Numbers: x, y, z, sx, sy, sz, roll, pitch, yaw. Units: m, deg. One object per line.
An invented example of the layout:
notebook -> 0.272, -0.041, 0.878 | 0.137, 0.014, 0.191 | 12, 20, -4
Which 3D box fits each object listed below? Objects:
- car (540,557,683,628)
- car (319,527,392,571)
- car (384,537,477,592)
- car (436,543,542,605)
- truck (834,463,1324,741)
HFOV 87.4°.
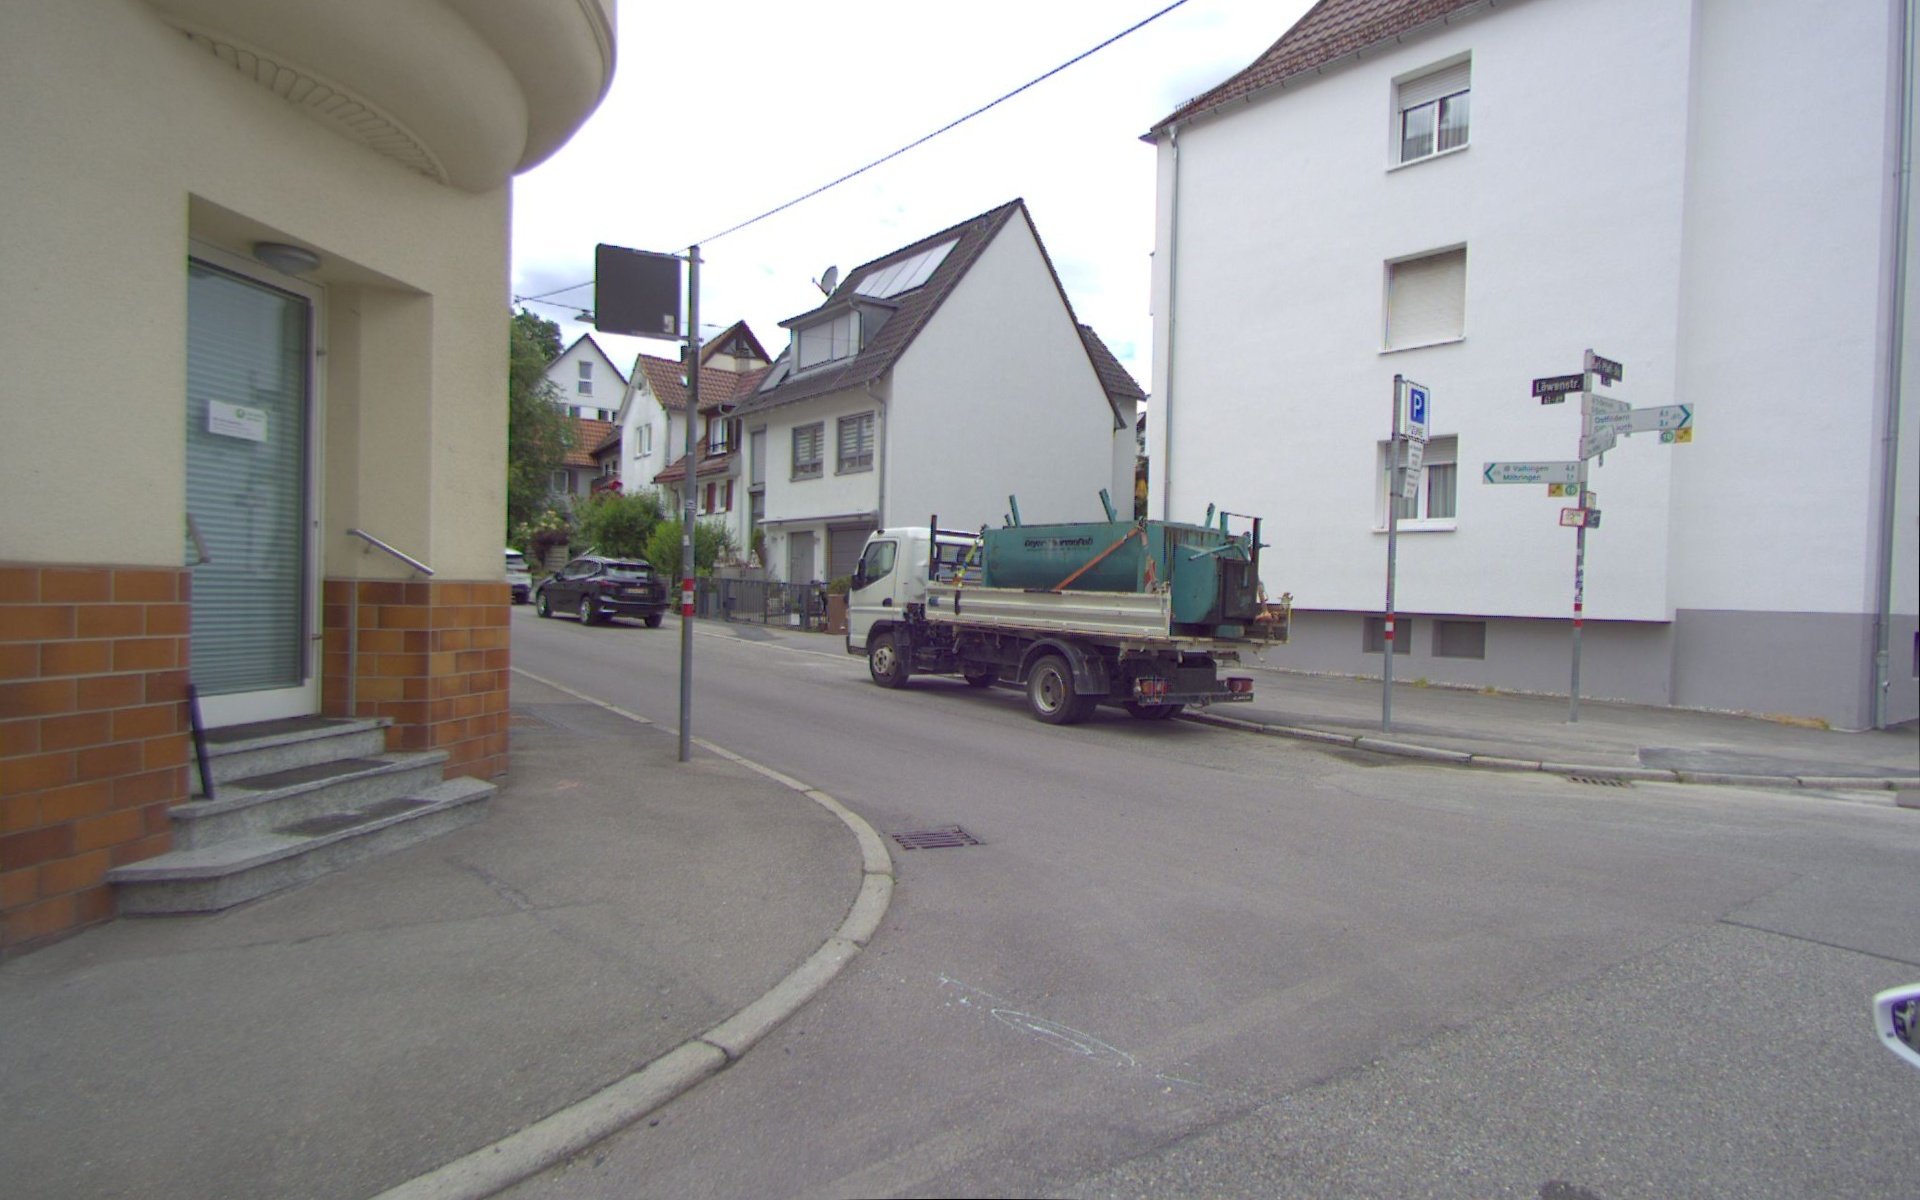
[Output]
car -> -8.431, -0.215, 24.122 | 1.842, 1.483, 3.897 | 3, 1, -42
car -> -26.224, -2.234, 43.525 | 1.844, 1.672, 3.894 | 2, 2, -44
car -> -18.635, -1.283, 35.293 | 1.844, 1.672, 3.894 | 2, 2, -44
car -> -14.323, -0.818, 30.443 | 1.842, 1.672, 3.897 | 2, 1, -42
truck -> 1.059, -0.019, 12.535 | 2.298, 2.586, 6.218 | 2, 0, -38
